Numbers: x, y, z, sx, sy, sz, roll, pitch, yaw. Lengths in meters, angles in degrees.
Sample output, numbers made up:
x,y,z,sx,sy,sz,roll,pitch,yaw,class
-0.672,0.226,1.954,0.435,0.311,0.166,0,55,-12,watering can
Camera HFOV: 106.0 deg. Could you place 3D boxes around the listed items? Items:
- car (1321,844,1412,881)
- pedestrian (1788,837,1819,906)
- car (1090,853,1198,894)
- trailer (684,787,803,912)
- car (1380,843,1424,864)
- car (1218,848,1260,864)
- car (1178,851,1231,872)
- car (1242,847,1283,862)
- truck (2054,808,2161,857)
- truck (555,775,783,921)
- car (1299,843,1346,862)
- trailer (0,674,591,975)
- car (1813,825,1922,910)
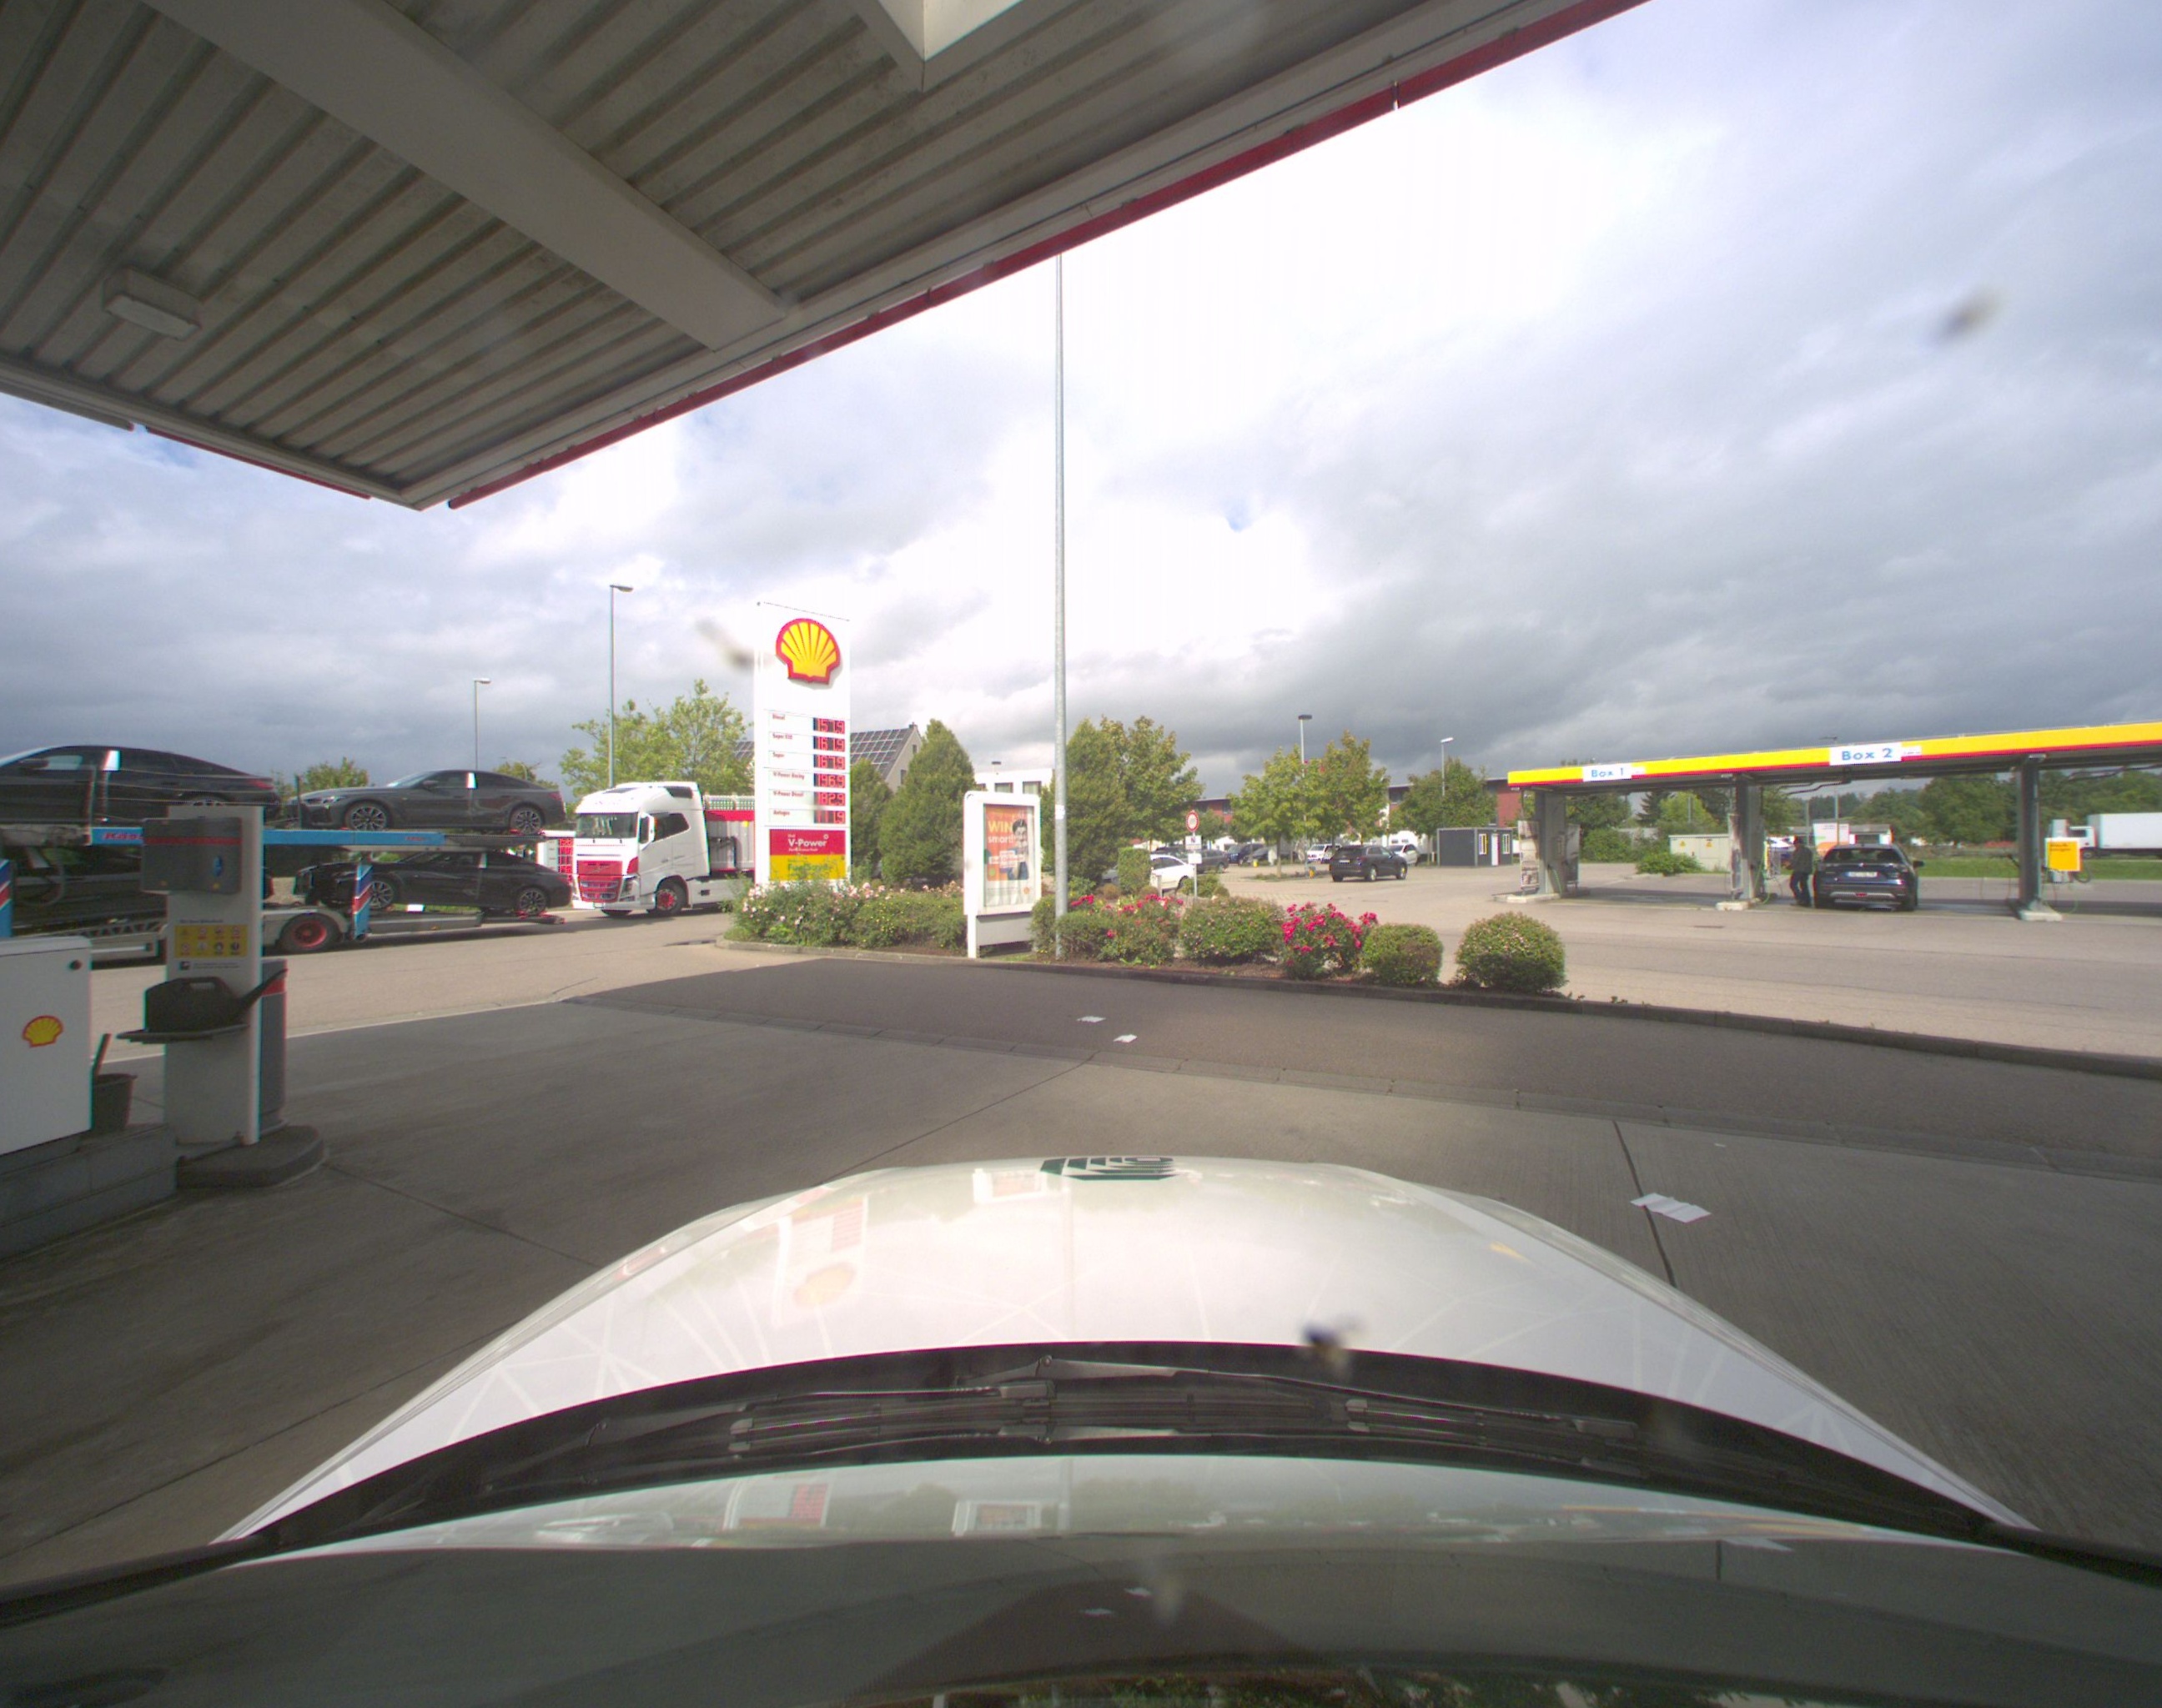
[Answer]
x,y,z,sx,sy,sz,roll,pitch,yaw,class
12.873,0.371,36.578,4.527,1.548,1.864,0,-1,-41,car
18.394,0.437,20.746,0.551,1.722,0.531,-1,-1,39,pedestrian
2.391,0.680,30.019,4.368,1.404,1.354,0,-1,-42,car
-12.463,-0.081,31.181,2.736,3.776,12.643,0,-1,-16,trailer
20.603,-0.051,52.214,3.120,1.307,1.352,0,-1,-42,car
12.945,0.176,66.658,3.407,1.320,1.726,0,-1,-42,car
7.536,0.444,49.703,3.245,1.228,1.488,0,-1,-42,car
14.488,0.029,64.874,3.437,1.179,1.468,0,-1,-42,car
78.226,-1.561,60.009,7.989,3.534,2.714,-1,-1,41,truck
-12.218,-0.136,24.800,2.710,3.846,5.948,-1,-1,20,truck
23.868,-0.128,80.267,4.903,1.833,2.159,0,-1,-41,car
-16.437,-0.416,13.681,2.711,4.423,14.450,-1,-1,31,trailer
19.436,0.313,20.074,3.828,1.897,1.703,0,-1,-43,car
